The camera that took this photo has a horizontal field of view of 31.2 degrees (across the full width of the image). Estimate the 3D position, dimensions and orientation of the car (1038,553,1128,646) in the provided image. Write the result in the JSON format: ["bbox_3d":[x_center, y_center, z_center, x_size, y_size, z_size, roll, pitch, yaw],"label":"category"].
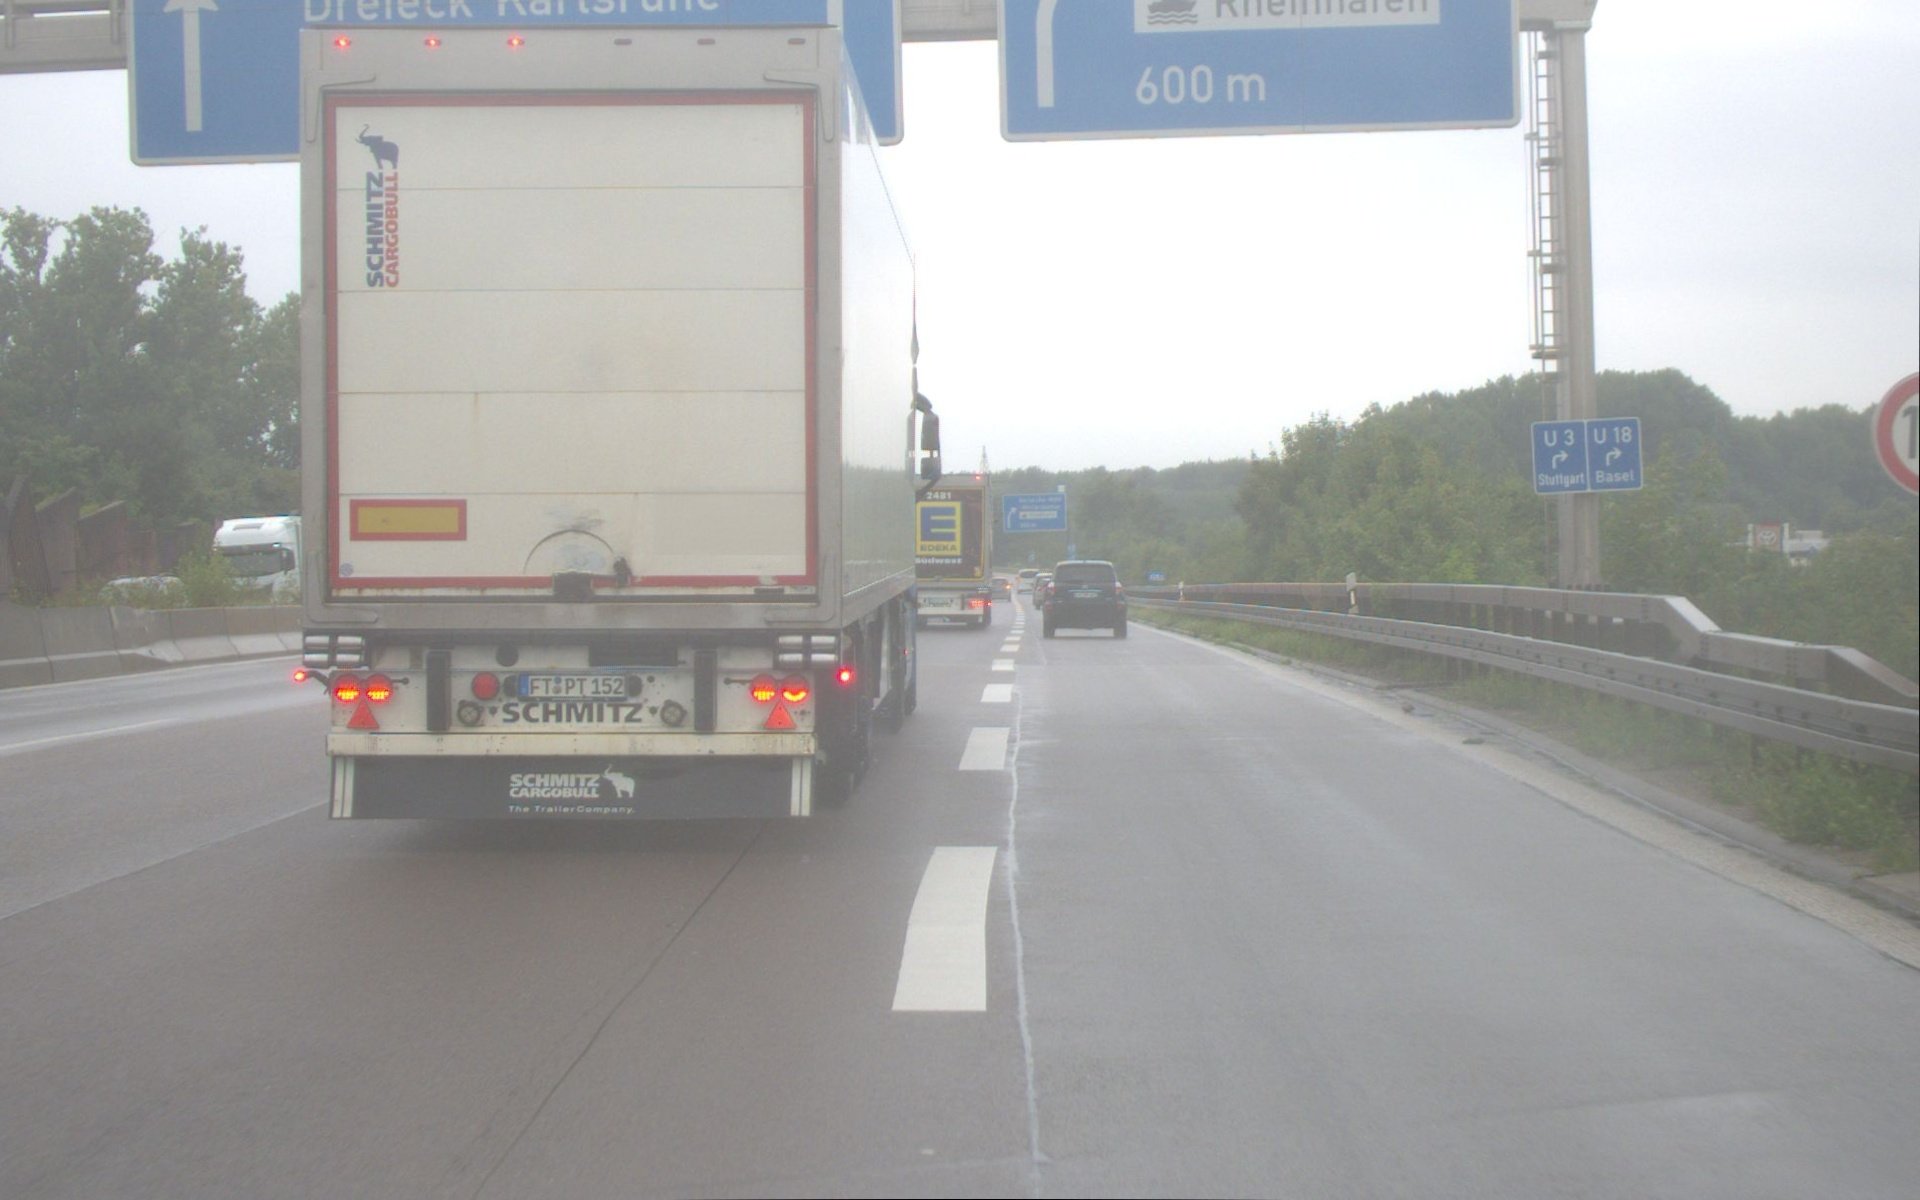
[{"bbox_3d":[2.703,-0.023,75.288,1.897,1.943,4.000,1,0,2],"label":"car"}]

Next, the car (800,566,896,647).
[{"bbox_3d":[-2.442,0.131,75.766,1.894,1.718,4.000,1,0,1],"label":"car"}]

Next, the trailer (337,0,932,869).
[{"bbox_3d":[-1.584,-1.000,23.424,2.342,4.143,14.827,1,1,1],"label":"trailer"}]

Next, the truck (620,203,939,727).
[{"bbox_3d":[-1.466,-1.147,30.637,2.342,4.143,6.347,1,1,1],"label":"truck"}]

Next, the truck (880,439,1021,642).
[{"bbox_3d":[-0.162,-1.562,93.212,3.534,5.165,9.892,1,0,1],"label":"truck"}]
